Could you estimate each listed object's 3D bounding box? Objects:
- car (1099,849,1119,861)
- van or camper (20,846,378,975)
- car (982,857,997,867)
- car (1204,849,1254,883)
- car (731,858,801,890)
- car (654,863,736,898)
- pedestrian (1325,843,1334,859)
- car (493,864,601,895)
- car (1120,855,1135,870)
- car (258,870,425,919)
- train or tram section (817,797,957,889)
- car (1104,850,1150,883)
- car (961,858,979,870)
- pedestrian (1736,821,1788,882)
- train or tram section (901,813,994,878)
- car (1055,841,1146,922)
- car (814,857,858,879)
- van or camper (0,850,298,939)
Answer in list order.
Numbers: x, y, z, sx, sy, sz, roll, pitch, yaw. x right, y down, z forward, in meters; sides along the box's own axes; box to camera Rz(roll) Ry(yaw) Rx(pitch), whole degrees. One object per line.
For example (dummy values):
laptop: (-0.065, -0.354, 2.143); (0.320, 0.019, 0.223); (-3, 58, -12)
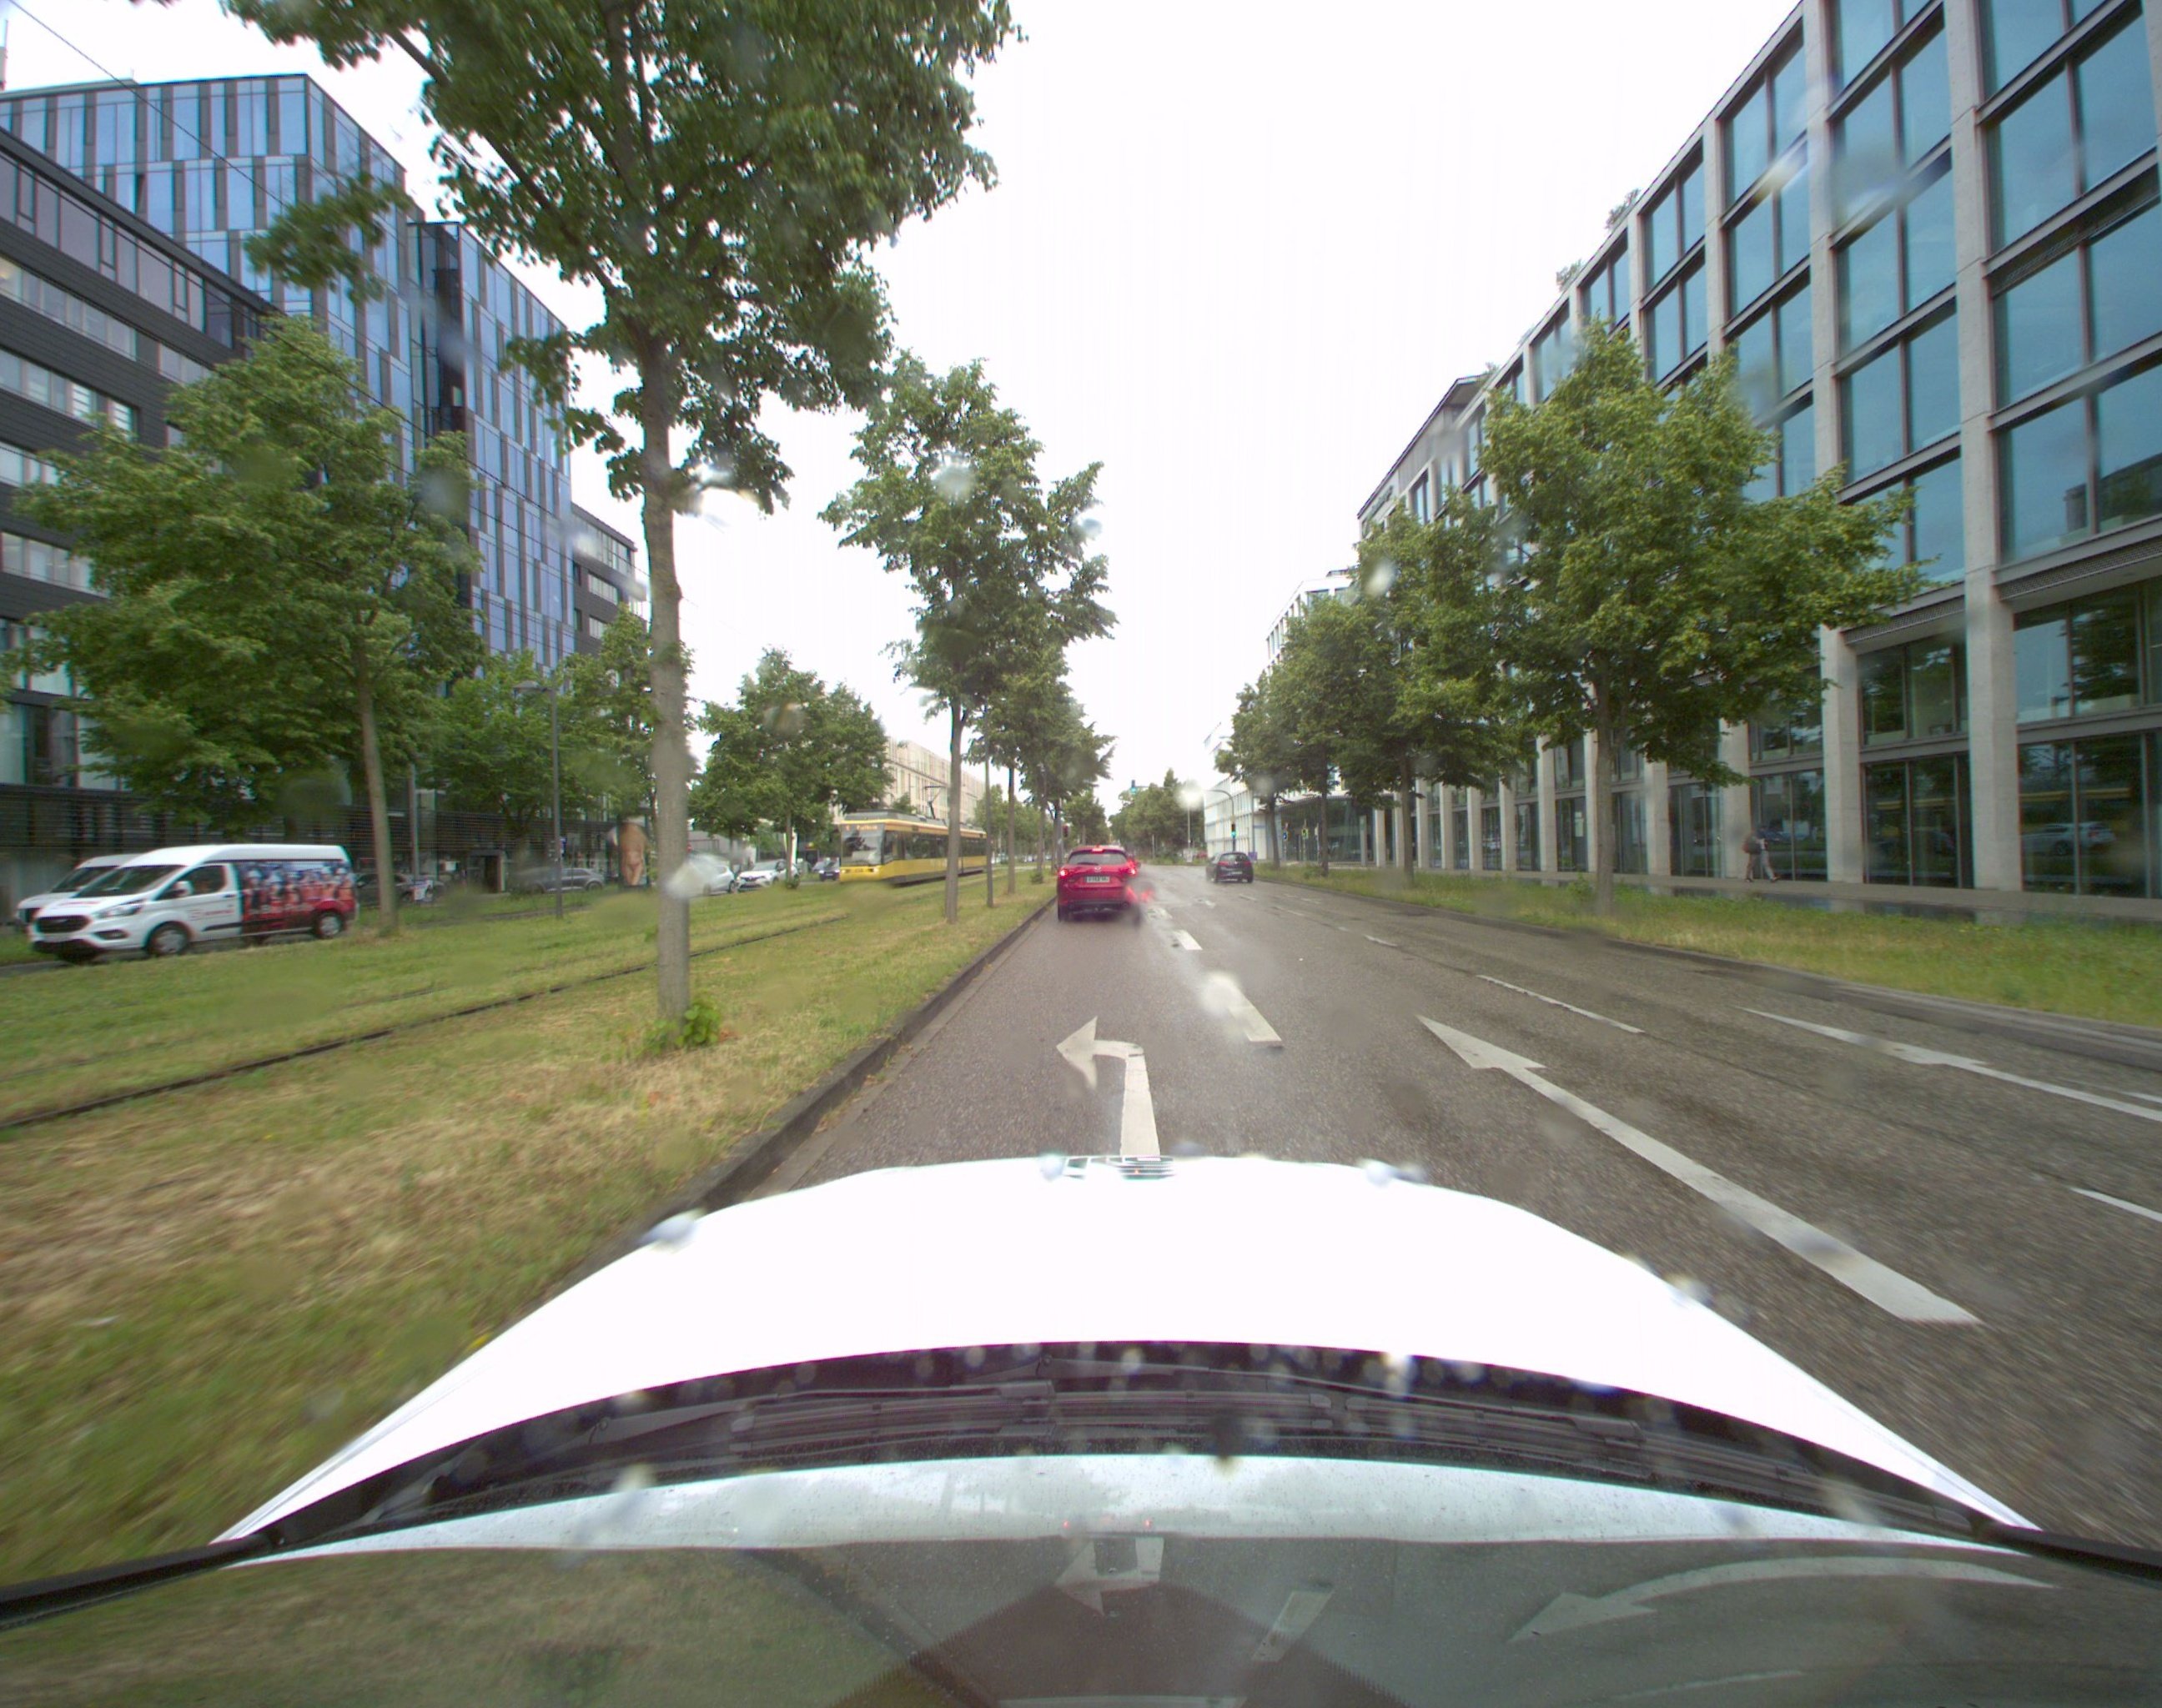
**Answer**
car: (3.155, 0.099, 93.150); (1.962, 1.437, 4.549); (0, 0, -2)
van or camper: (-19.107, 1.063, 18.177); (1.902, 2.410, 5.405); (-2, 0, 2)
car: (-15.401, 1.302, 137.341); (1.987, 1.618, 4.000); (-2, 0, 0)
car: (6.892, 0.529, 38.171); (1.737, 1.465, 3.783); (-1, 0, 1)
car: (-15.347, 0.947, 39.906); (1.704, 1.404, 4.002); (-2, 0, 2)
car: (-18.475, 1.237, 39.197); (1.878, 1.459, 4.002); (-2, 0, 2)
pedestrian: (25.748, -0.318, 84.491); (0.774, 1.707, 0.684); (-1, 0, 27)
car: (-30.151, 1.419, 46.092); (1.974, 1.521, 4.710); (-1, 0, 41)
car: (6.757, 1.240, 117.678); (1.986, 2.013, 4.002); (-2, 0, 2)
car: (-27.448, 1.458, 30.494); (1.987, 1.521, 4.607); (-1, 0, 1)
train or tram section: (-8.889, -0.470, 39.697); (3.117, 3.658, 13.412); (-1, 0, 2)
car: (2.262, 0.558, 38.848); (1.949, 1.465, 3.788); (-1, 0, 6)
car: (-15.973, 1.372, 117.490); (1.987, 1.618, 4.000); (-2, 0, 0)
pedestrian: (19.834, -0.071, 23.747); (0.714, 1.714, 0.861); (-3, 0, 1)
train or tram section: (-8.432, -0.523, 53.973); (3.117, 3.658, 15.071); (-1, 0, 2)
car: (0.467, 0.572, 19.218); (1.891, 1.677, 4.001); (-1, 0, 1)
car: (-18.100, 1.034, 60.350); (1.878, 1.459, 4.002); (-2, 0, 2)
van or camper: (-27.714, 1.058, 24.518); (2.424, 2.315, 5.853); (-1, 0, 2)
